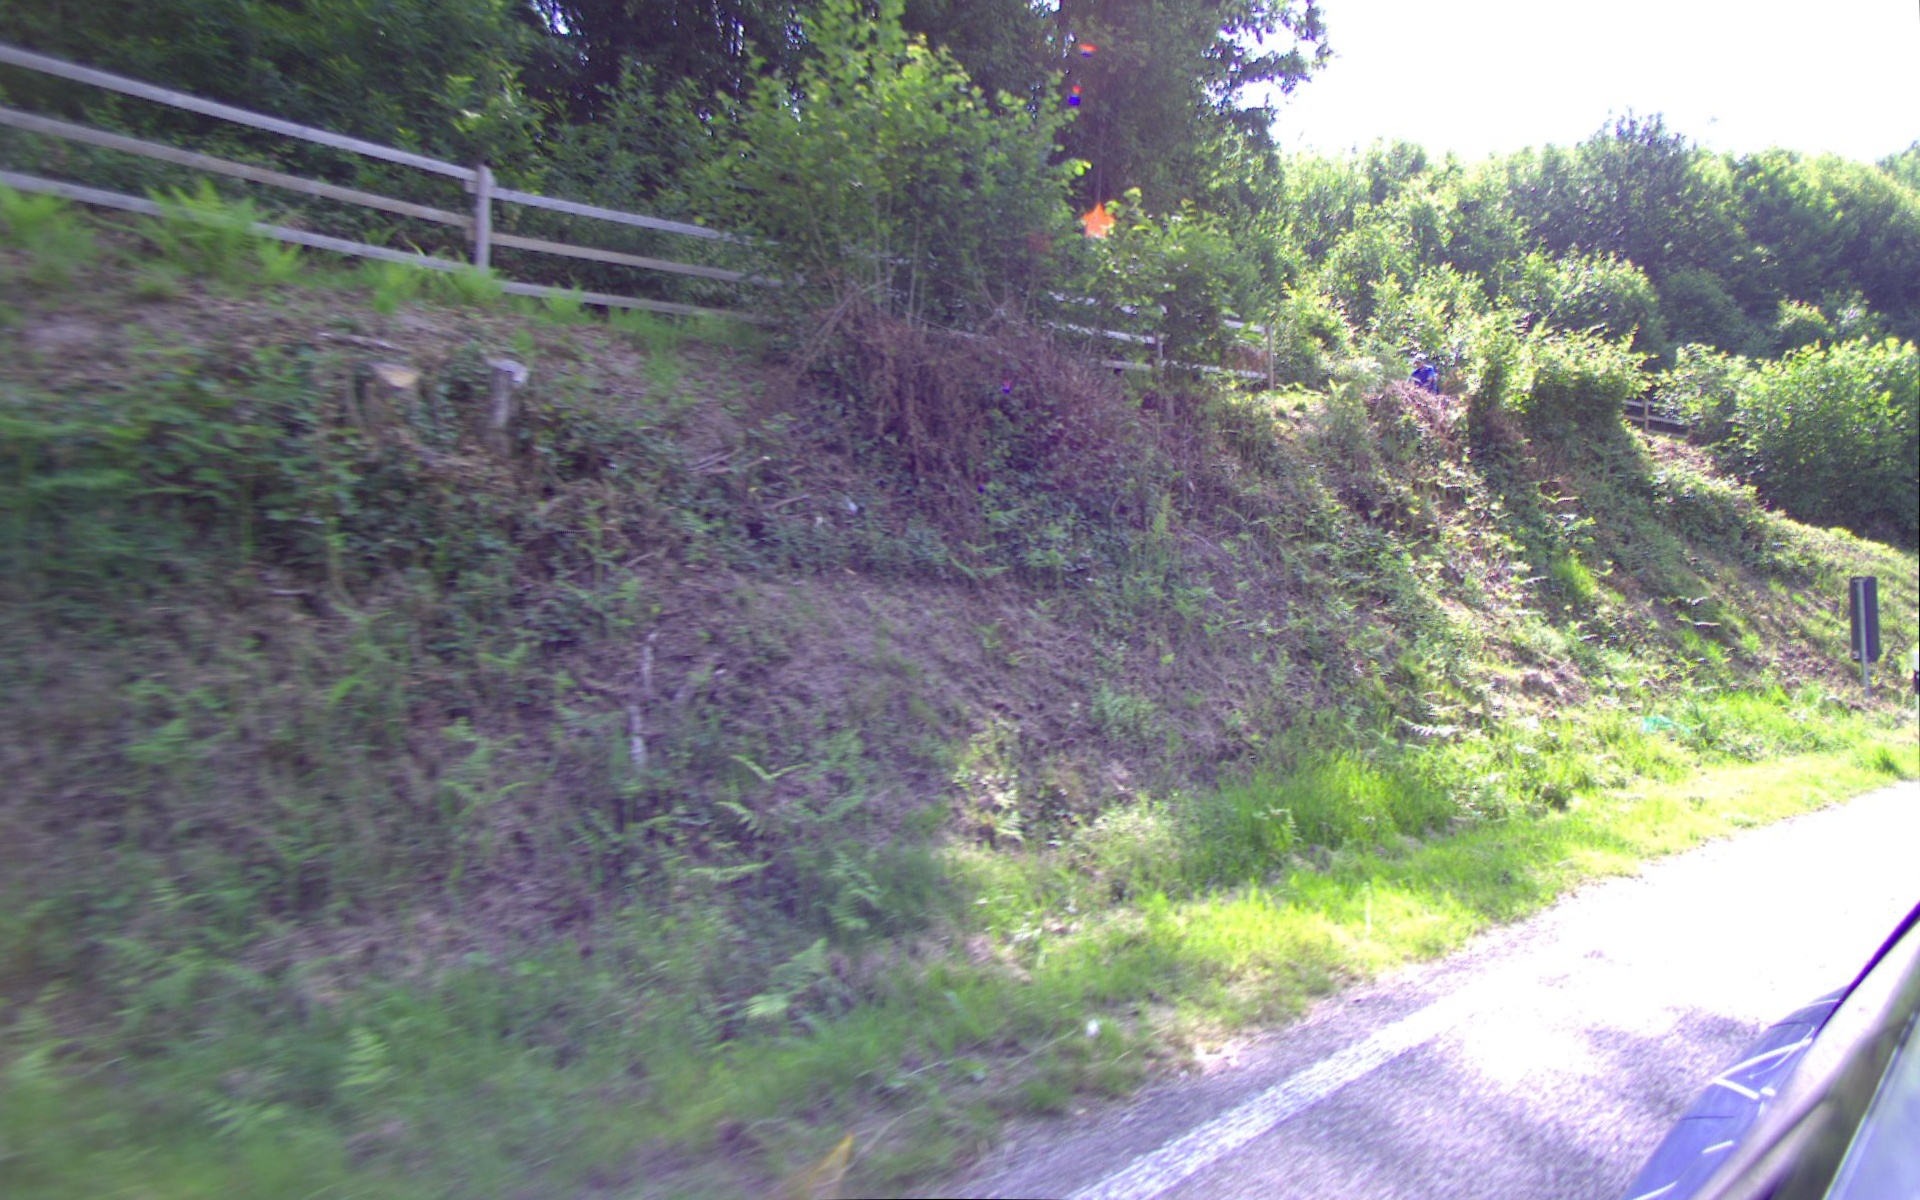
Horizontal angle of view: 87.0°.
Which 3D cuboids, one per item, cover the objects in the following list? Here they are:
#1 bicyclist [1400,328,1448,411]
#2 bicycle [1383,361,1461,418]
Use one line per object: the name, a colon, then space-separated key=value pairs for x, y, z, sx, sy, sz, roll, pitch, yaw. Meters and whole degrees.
bicyclist: x=9.814 y=-4.865 z=21.419 sx=0.601 sy=1.544 sz=0.626 roll=1 pitch=-3 yaw=-28
bicycle: x=9.756 y=-4.425 z=21.359 sx=1.564 sy=0.927 sz=0.625 roll=1 pitch=-3 yaw=-27
